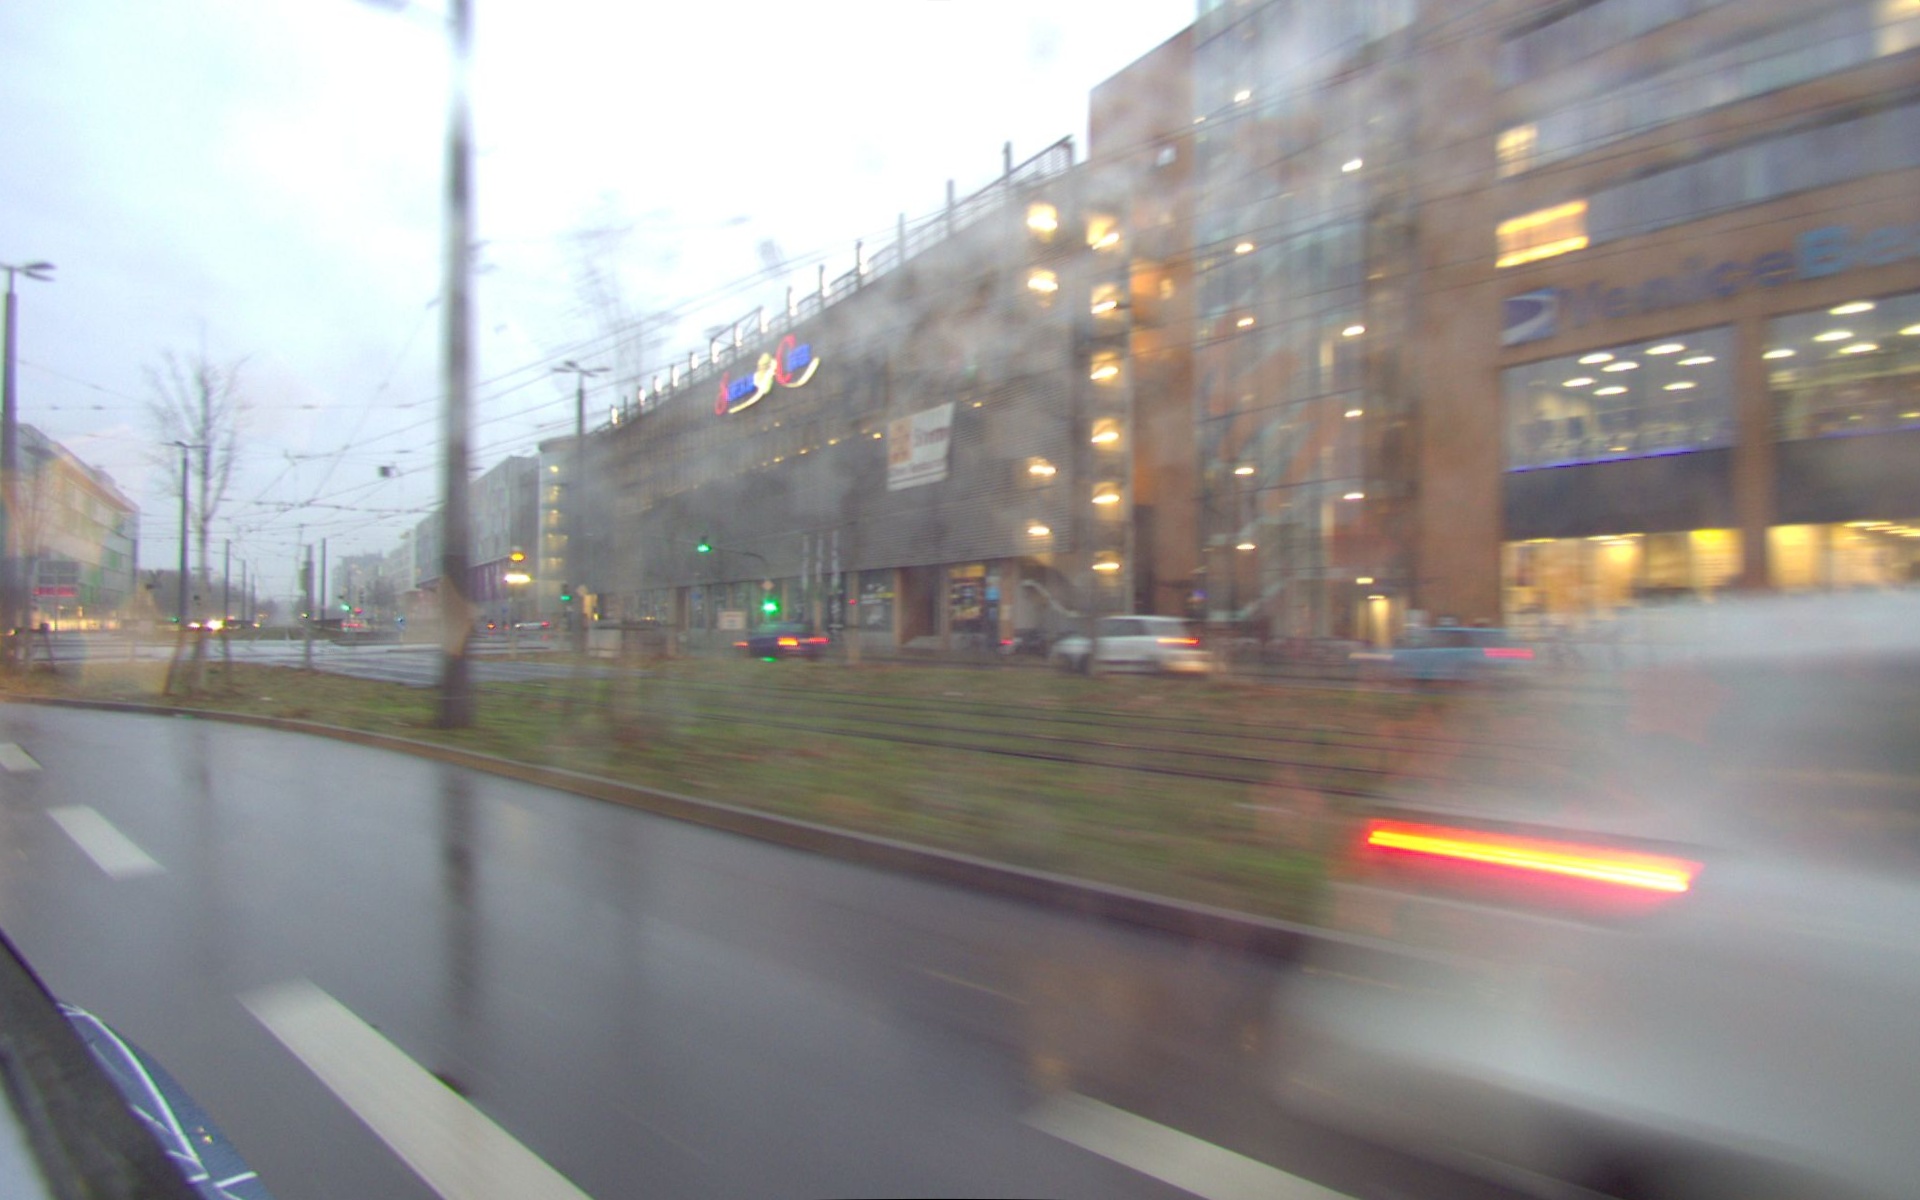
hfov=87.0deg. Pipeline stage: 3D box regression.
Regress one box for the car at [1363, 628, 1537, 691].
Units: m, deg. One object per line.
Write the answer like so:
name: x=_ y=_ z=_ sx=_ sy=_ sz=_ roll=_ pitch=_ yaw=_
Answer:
car: x=11.920 y=1.393 z=24.752 sx=3.549 sy=1.412 sz=1.490 roll=-1 pitch=-2 yaw=43

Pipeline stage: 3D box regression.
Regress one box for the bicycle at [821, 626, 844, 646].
bicycle: x=-7.826 y=2.180 z=61.944 sx=0.469 sy=1.130 sz=2.097 roll=2 pitch=-1 yaw=-34

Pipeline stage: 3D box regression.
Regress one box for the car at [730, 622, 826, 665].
car: x=-6.621 y=1.519 z=36.490 sx=1.791 sy=1.453 sz=3.964 roll=1 pitch=-2 yaw=-38

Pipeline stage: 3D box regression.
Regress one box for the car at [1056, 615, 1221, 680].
car: x=4.187 y=1.079 z=24.048 sx=3.652 sy=1.383 sz=1.490 roll=0 pitch=-1 yaw=43

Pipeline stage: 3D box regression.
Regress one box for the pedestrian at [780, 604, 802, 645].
pedestrian: x=-10.410 y=1.512 z=62.426 sx=0.950 sy=2.457 sz=1.117 roll=2 pitch=-1 yaw=-33

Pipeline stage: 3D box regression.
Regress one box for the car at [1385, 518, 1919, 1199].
car: x=2.672 y=0.625 z=1.163 sx=3.685 sy=1.507 sz=1.621 roll=-2 pitch=-2 yaw=43

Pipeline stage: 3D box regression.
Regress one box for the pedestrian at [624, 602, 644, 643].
pedestrian: x=-23.510 y=1.600 z=73.040 sx=1.095 sy=2.947 sz=0.969 roll=2 pitch=-1 yaw=-33
